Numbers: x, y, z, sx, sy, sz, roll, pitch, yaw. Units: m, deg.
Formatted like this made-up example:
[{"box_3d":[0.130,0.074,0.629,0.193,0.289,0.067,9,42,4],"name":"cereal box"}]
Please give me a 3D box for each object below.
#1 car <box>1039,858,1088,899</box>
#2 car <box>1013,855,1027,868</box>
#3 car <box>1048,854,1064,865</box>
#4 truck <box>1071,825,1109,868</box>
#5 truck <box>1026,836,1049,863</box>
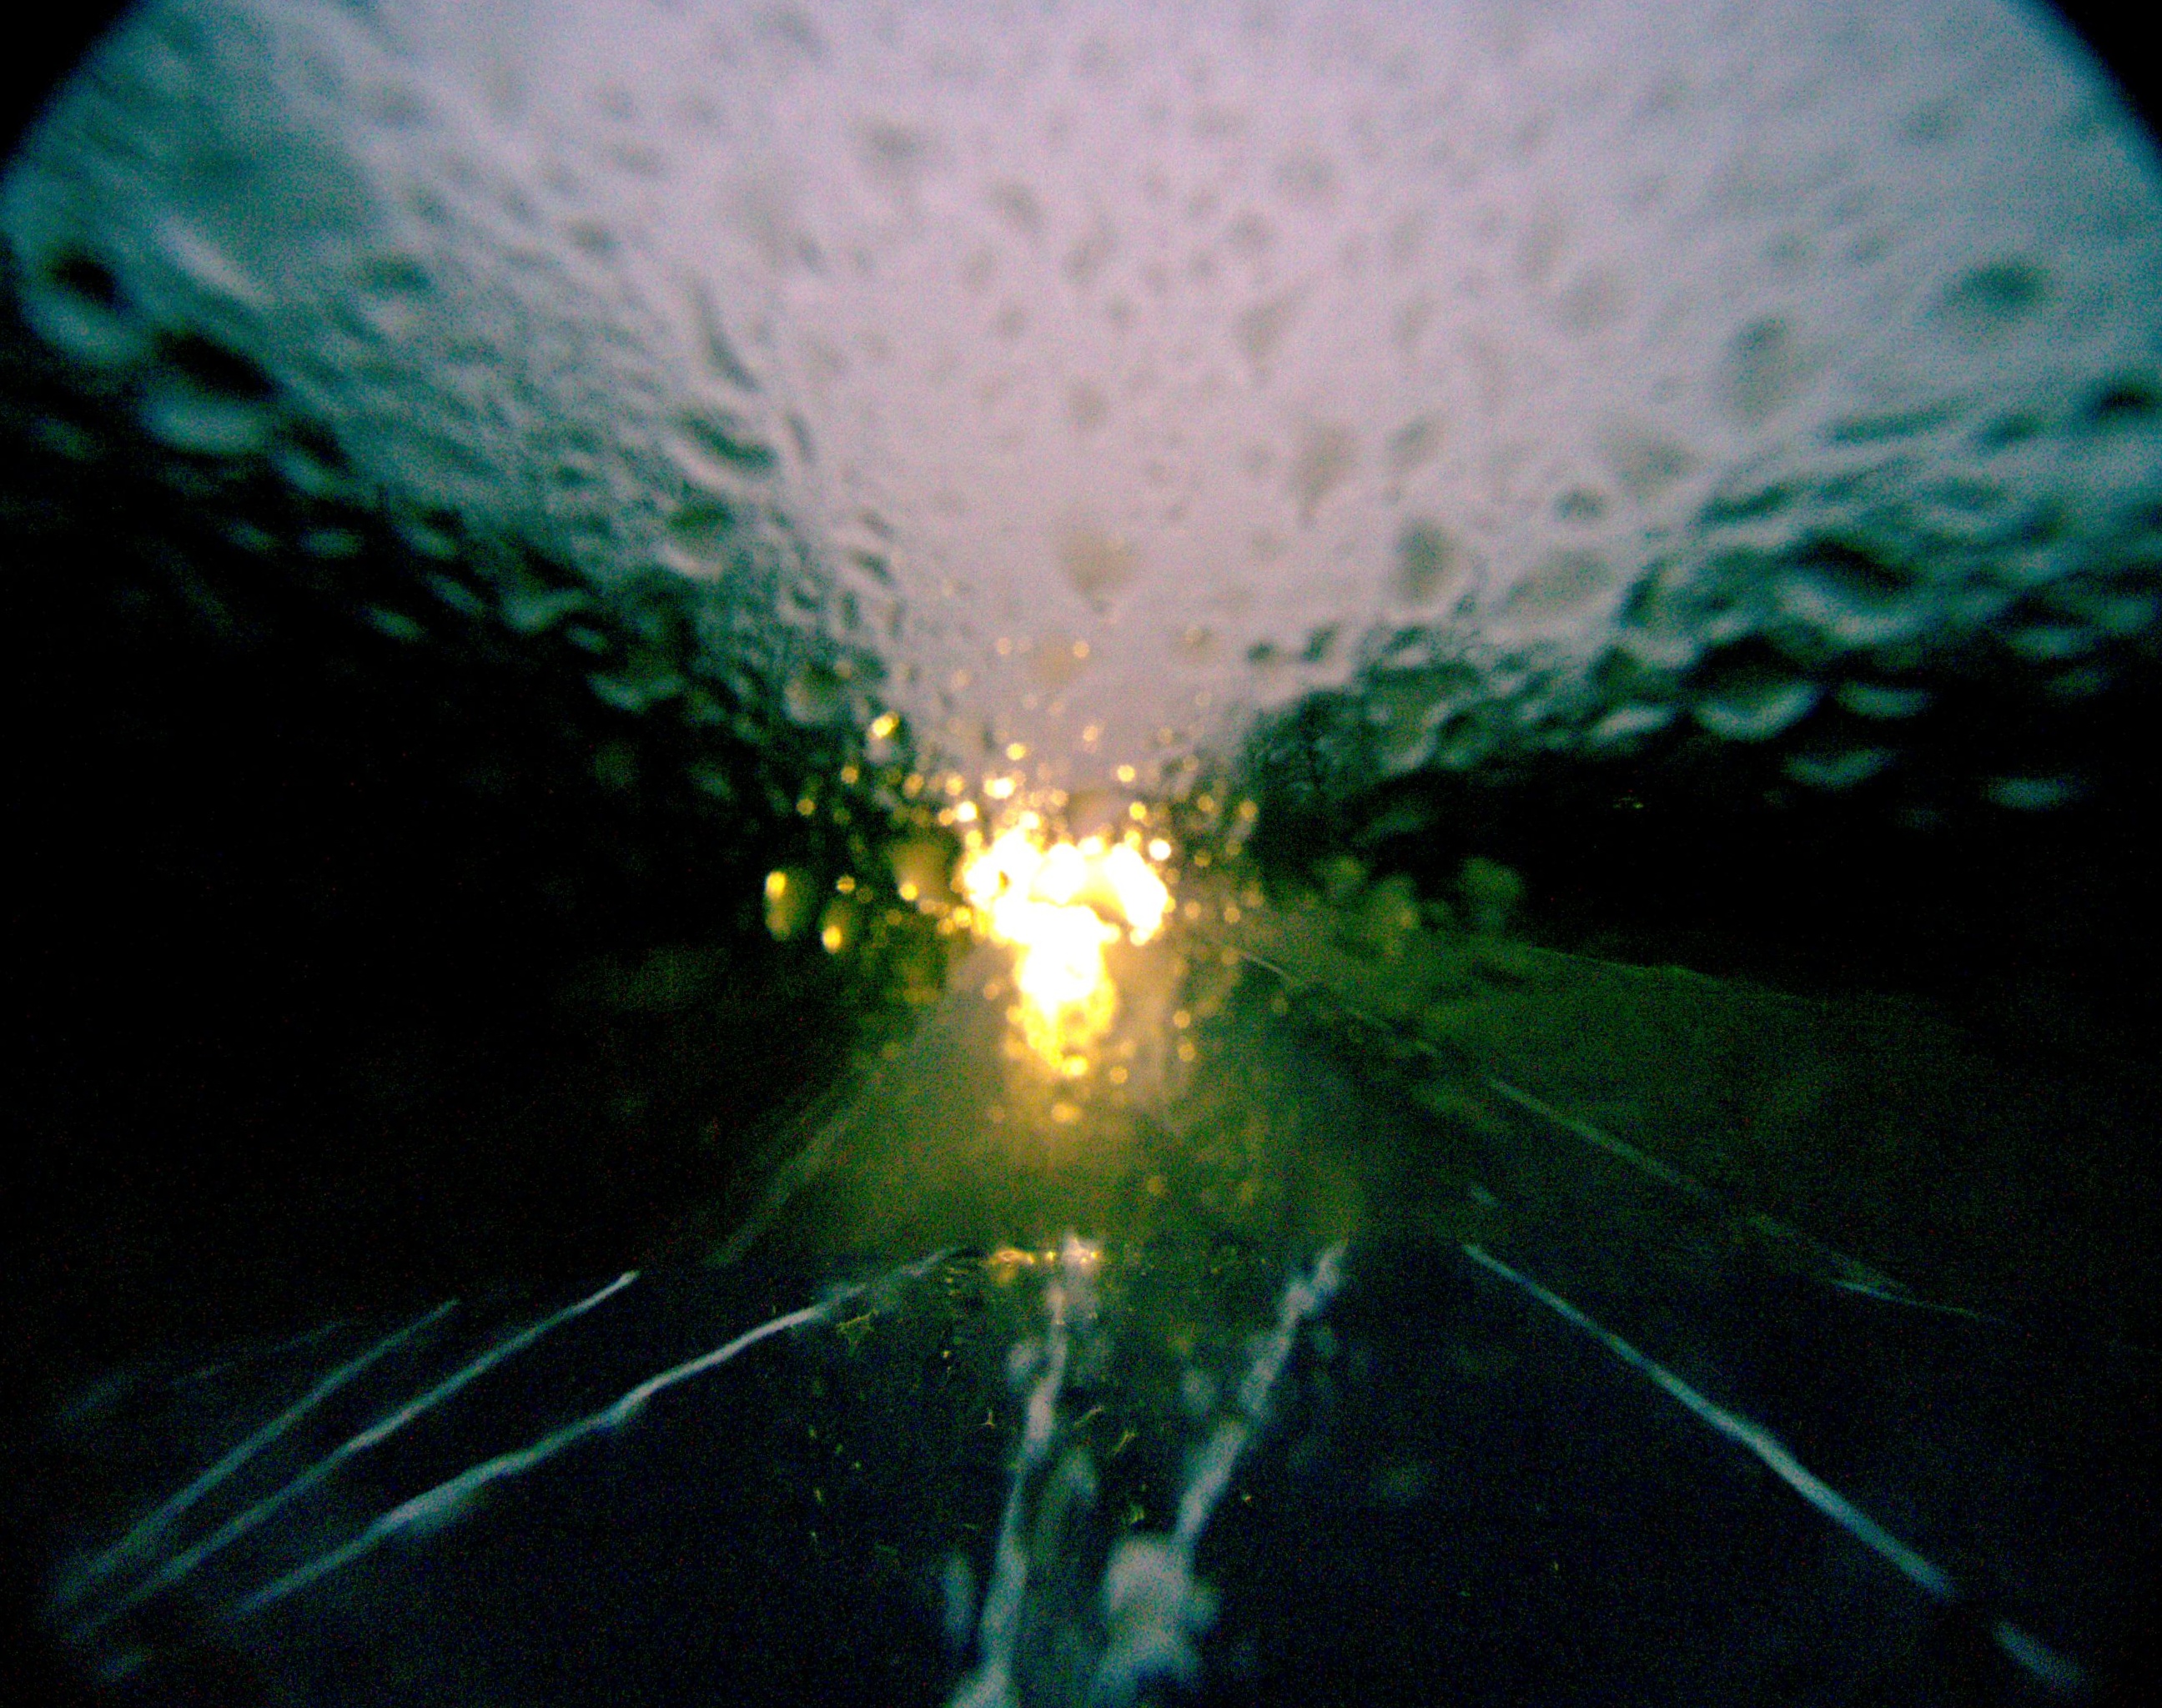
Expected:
[{"box_3d":[-0.778,0.955,31.280,1.850,1.429,4.243,-3,0,-3],"name":"car"},{"box_3d":[-8.722,1.017,108.861,1.702,1.721,3.998,-4,0,-4],"name":"car"},{"box_3d":[-3.488,0.717,104.440,1.851,1.452,4.242,-3,0,-7],"name":"car"},{"box_3d":[0.735,-0.710,70.294,2.655,3.575,9.837,-2,1,-4],"name":"truck"},{"box_3d":[-7.965,-0.797,137.758,3.357,4.401,11.161,-4,0,-6],"name":"truck"}]
